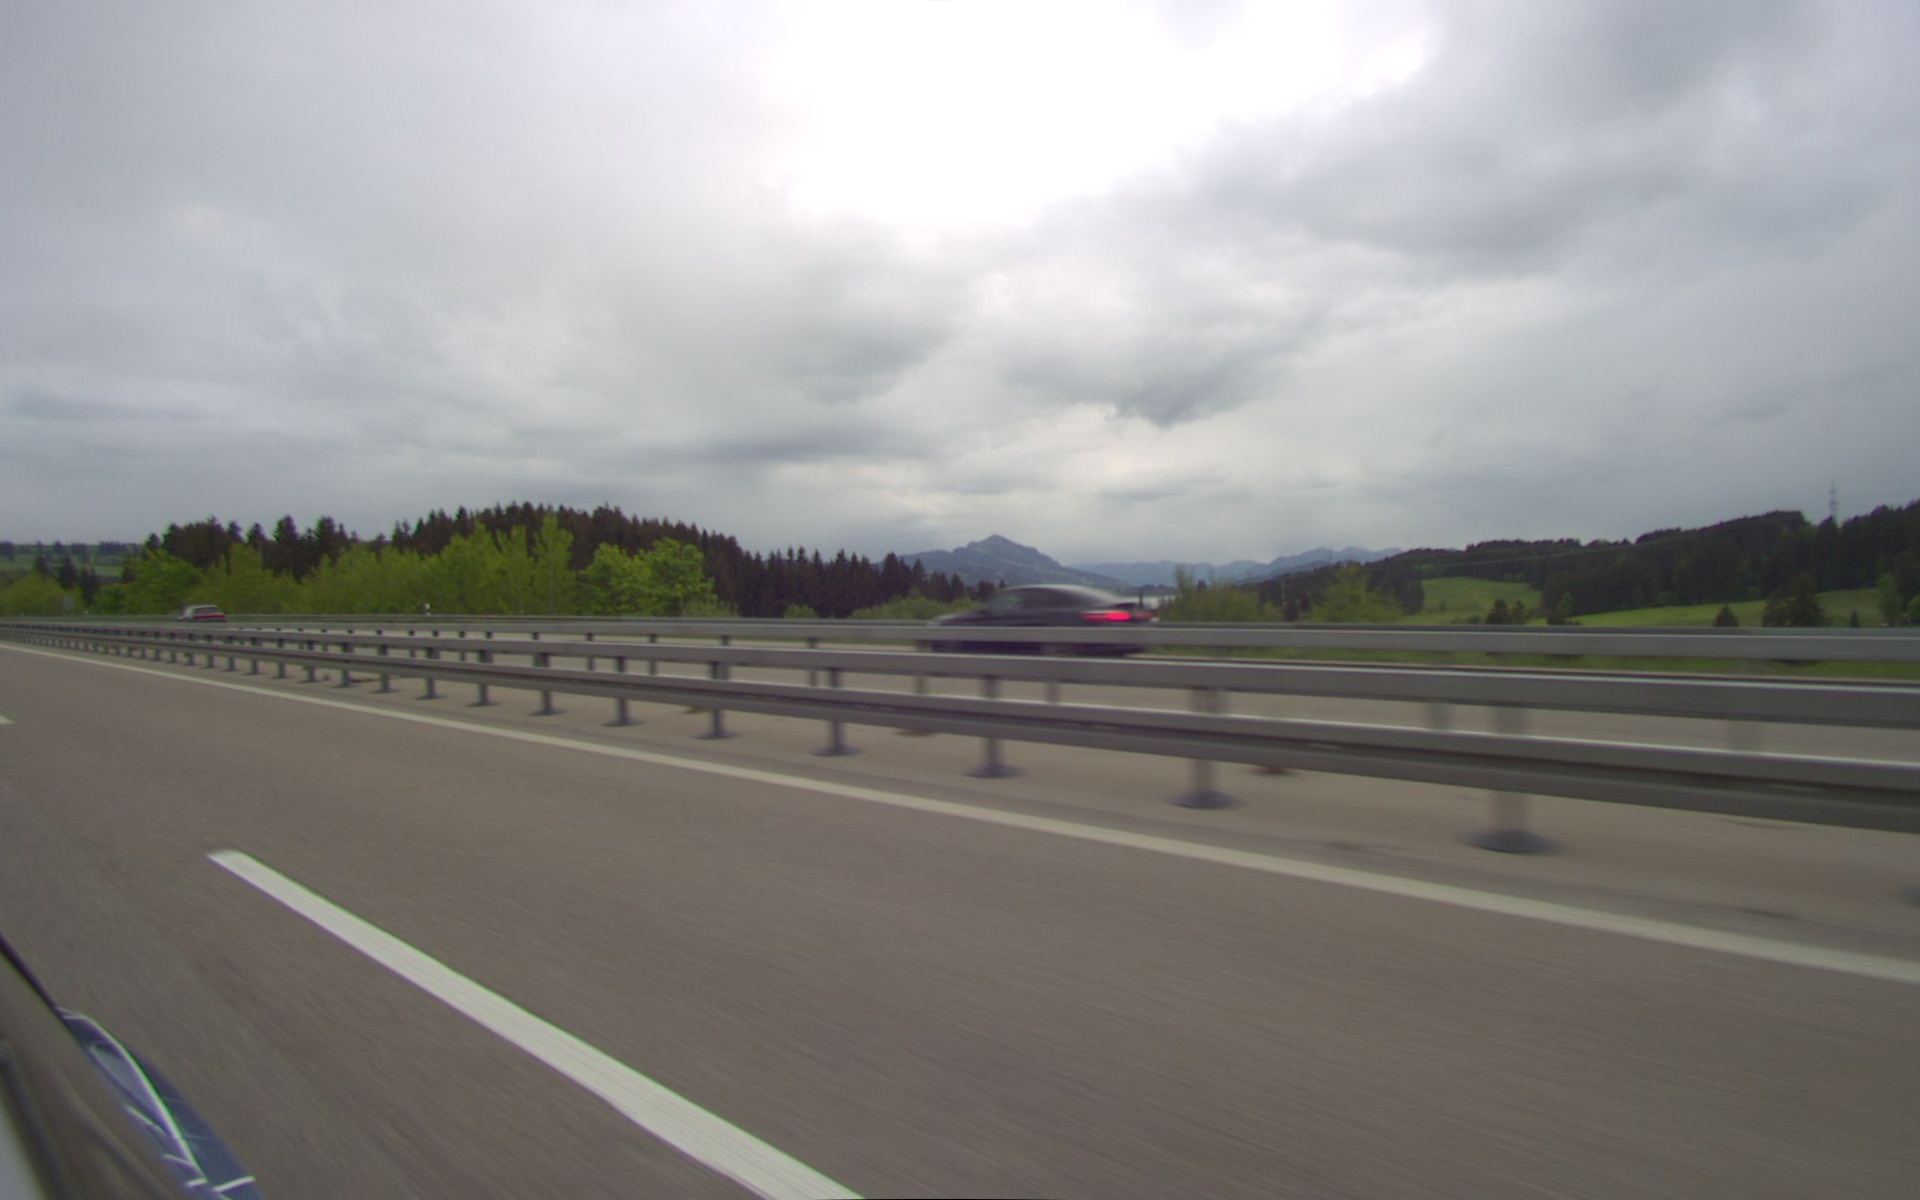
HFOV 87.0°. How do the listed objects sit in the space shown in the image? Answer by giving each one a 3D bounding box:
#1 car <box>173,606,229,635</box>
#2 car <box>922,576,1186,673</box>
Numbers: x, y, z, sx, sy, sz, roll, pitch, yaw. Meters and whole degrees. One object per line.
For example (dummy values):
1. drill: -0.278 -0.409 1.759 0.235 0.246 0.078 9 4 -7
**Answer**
1. car: -47.101 1.252 62.785 4.227 1.624 1.880 -1 2 41
2. car: 1.717 0.416 19.590 4.844 1.629 1.973 0 1 40
